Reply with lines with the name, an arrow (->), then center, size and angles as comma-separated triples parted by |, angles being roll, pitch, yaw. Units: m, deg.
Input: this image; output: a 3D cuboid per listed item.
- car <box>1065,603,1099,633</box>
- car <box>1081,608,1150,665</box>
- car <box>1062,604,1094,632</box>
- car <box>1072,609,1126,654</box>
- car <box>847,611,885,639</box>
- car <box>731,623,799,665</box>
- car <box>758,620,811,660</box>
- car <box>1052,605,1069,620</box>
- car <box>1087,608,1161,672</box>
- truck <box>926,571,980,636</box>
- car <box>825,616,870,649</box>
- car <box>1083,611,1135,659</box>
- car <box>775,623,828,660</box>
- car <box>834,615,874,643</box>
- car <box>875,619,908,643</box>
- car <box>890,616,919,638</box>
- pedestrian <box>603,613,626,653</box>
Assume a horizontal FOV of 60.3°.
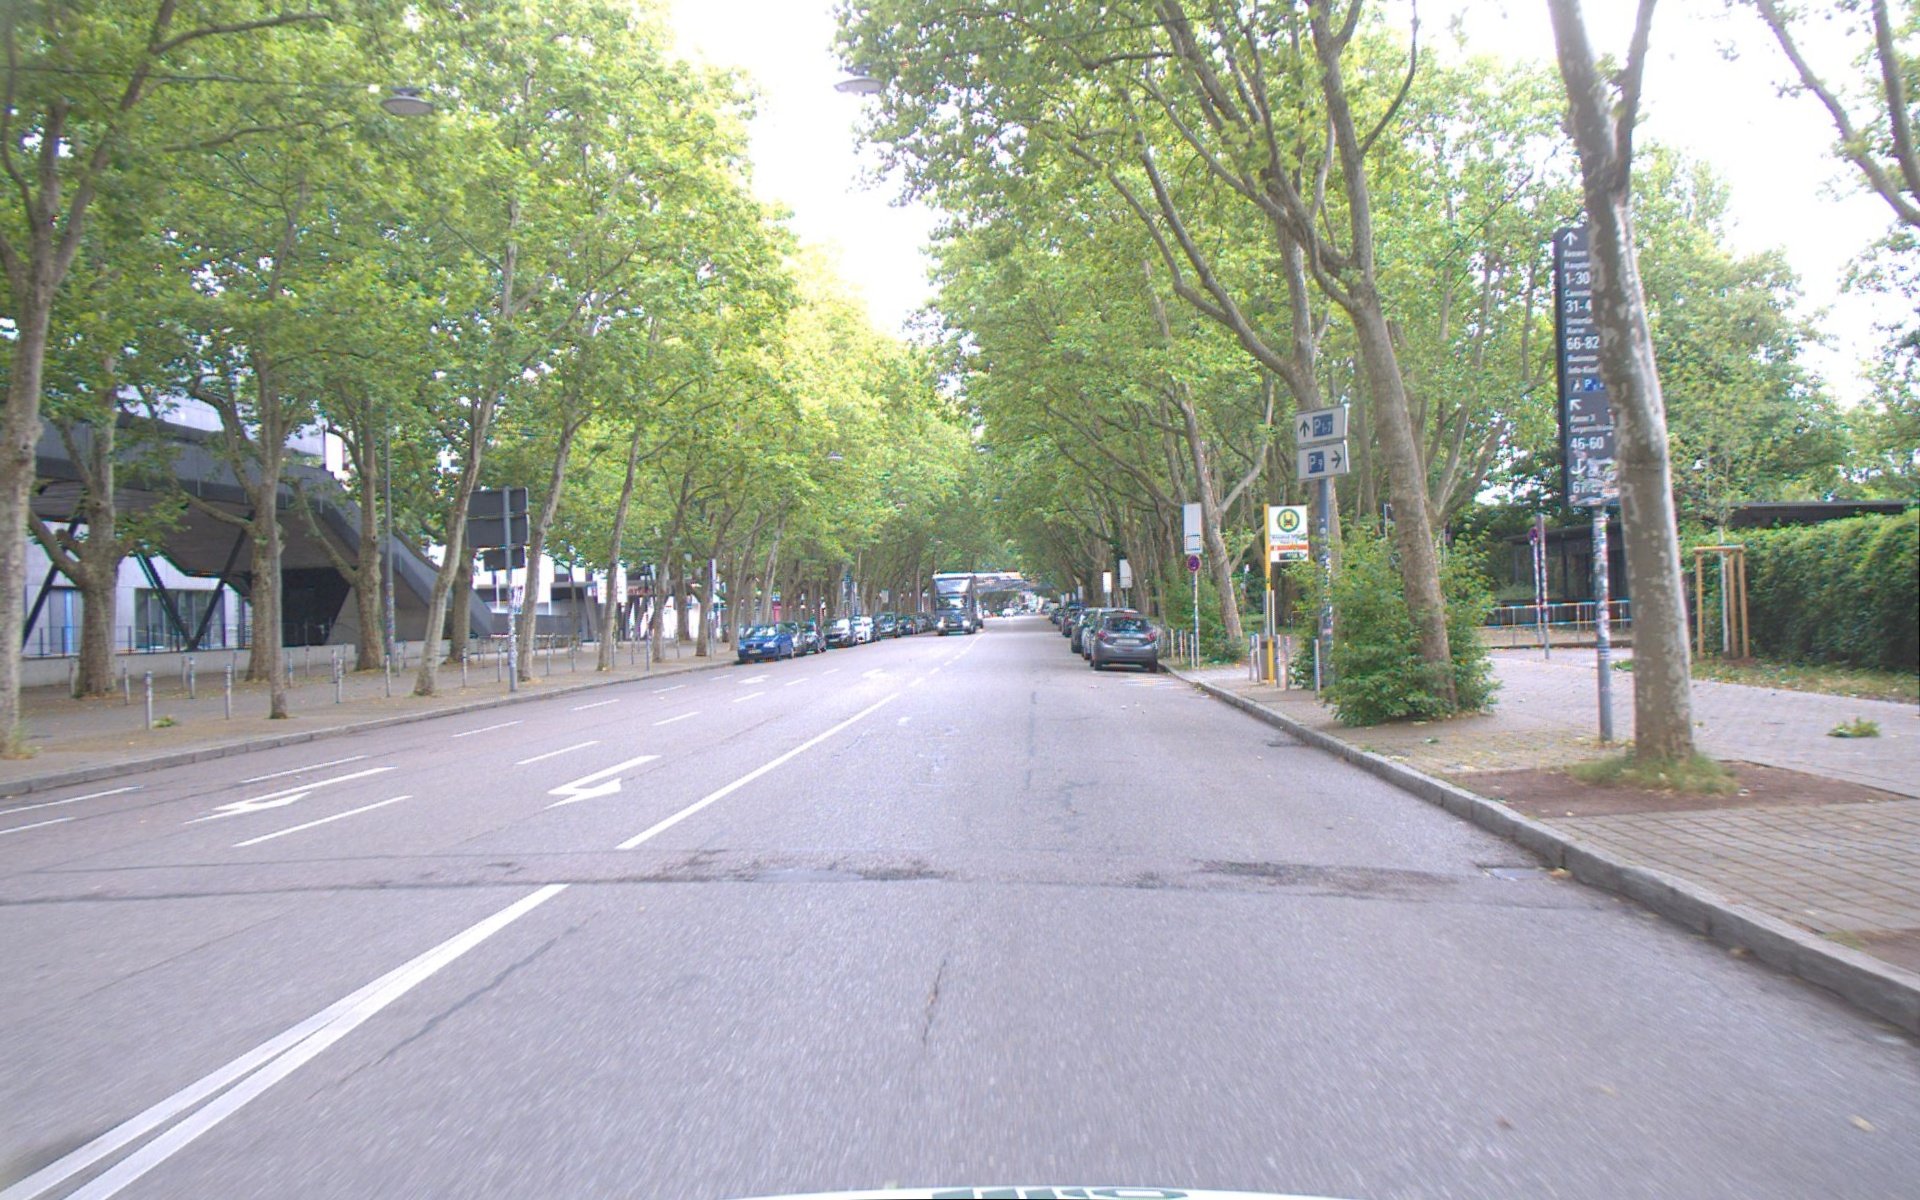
car -> 6.644, 0.981, 90.655 | 1.719, 1.561, 3.930 | 1, 0, 2
car -> 4.677, 1.074, 50.212 | 1.684, 1.594, 4.094 | 2, 0, 0
car -> 6.869, 1.055, 96.648 | 1.719, 1.561, 3.930 | -2, -1, 2
car -> 5.000, 1.126, 59.819 | 1.719, 1.516, 4.418 | 2, 0, 2
car -> -5.417, 1.448, 95.552 | 1.856, 1.463, 4.000 | -3, -2, 1
car -> -7.420, 1.669, 63.176 | 1.659, 1.443, 3.764 | -5, -2, 7
car -> -7.180, 1.654, 67.951 | 1.730, 1.443, 3.760 | -5, -2, -1
car -> 10.549, 1.333, 173.714 | 1.719, 1.561, 3.930 | 1, 0, 2
car -> 4.360, 1.038, 44.479 | 1.663, 1.545, 4.455 | 2, 0, 2
truck -> -0.388, 0.239, 109.335 | 2.586, 3.969, 9.545 | -3, -1, 5
car -> -5.597, 1.624, 82.585 | 1.729, 1.443, 3.762 | -5, -2, 2
car -> 4.955, 1.144, 55.277 | 1.640, 1.516, 3.688 | 2, 0, 4
car -> -6.925, 1.815, 72.499 | 1.729, 1.443, 3.762 | -5, -2, 2
car -> -5.751, 1.580, 89.843 | 1.696, 1.355, 4.000 | -3, -2, 2
car -> -4.516, 2.081, 109.876 | 1.856, 1.463, 4.000 | -3, -2, 1
car -> -4.112, 2.018, 122.279 | 1.856, 1.463, 4.000 | -3, -2, 1
pedestrian -> -16.088, 1.536, 76.955 | 0.762, 1.867, 0.869 | -1, -1, -32
